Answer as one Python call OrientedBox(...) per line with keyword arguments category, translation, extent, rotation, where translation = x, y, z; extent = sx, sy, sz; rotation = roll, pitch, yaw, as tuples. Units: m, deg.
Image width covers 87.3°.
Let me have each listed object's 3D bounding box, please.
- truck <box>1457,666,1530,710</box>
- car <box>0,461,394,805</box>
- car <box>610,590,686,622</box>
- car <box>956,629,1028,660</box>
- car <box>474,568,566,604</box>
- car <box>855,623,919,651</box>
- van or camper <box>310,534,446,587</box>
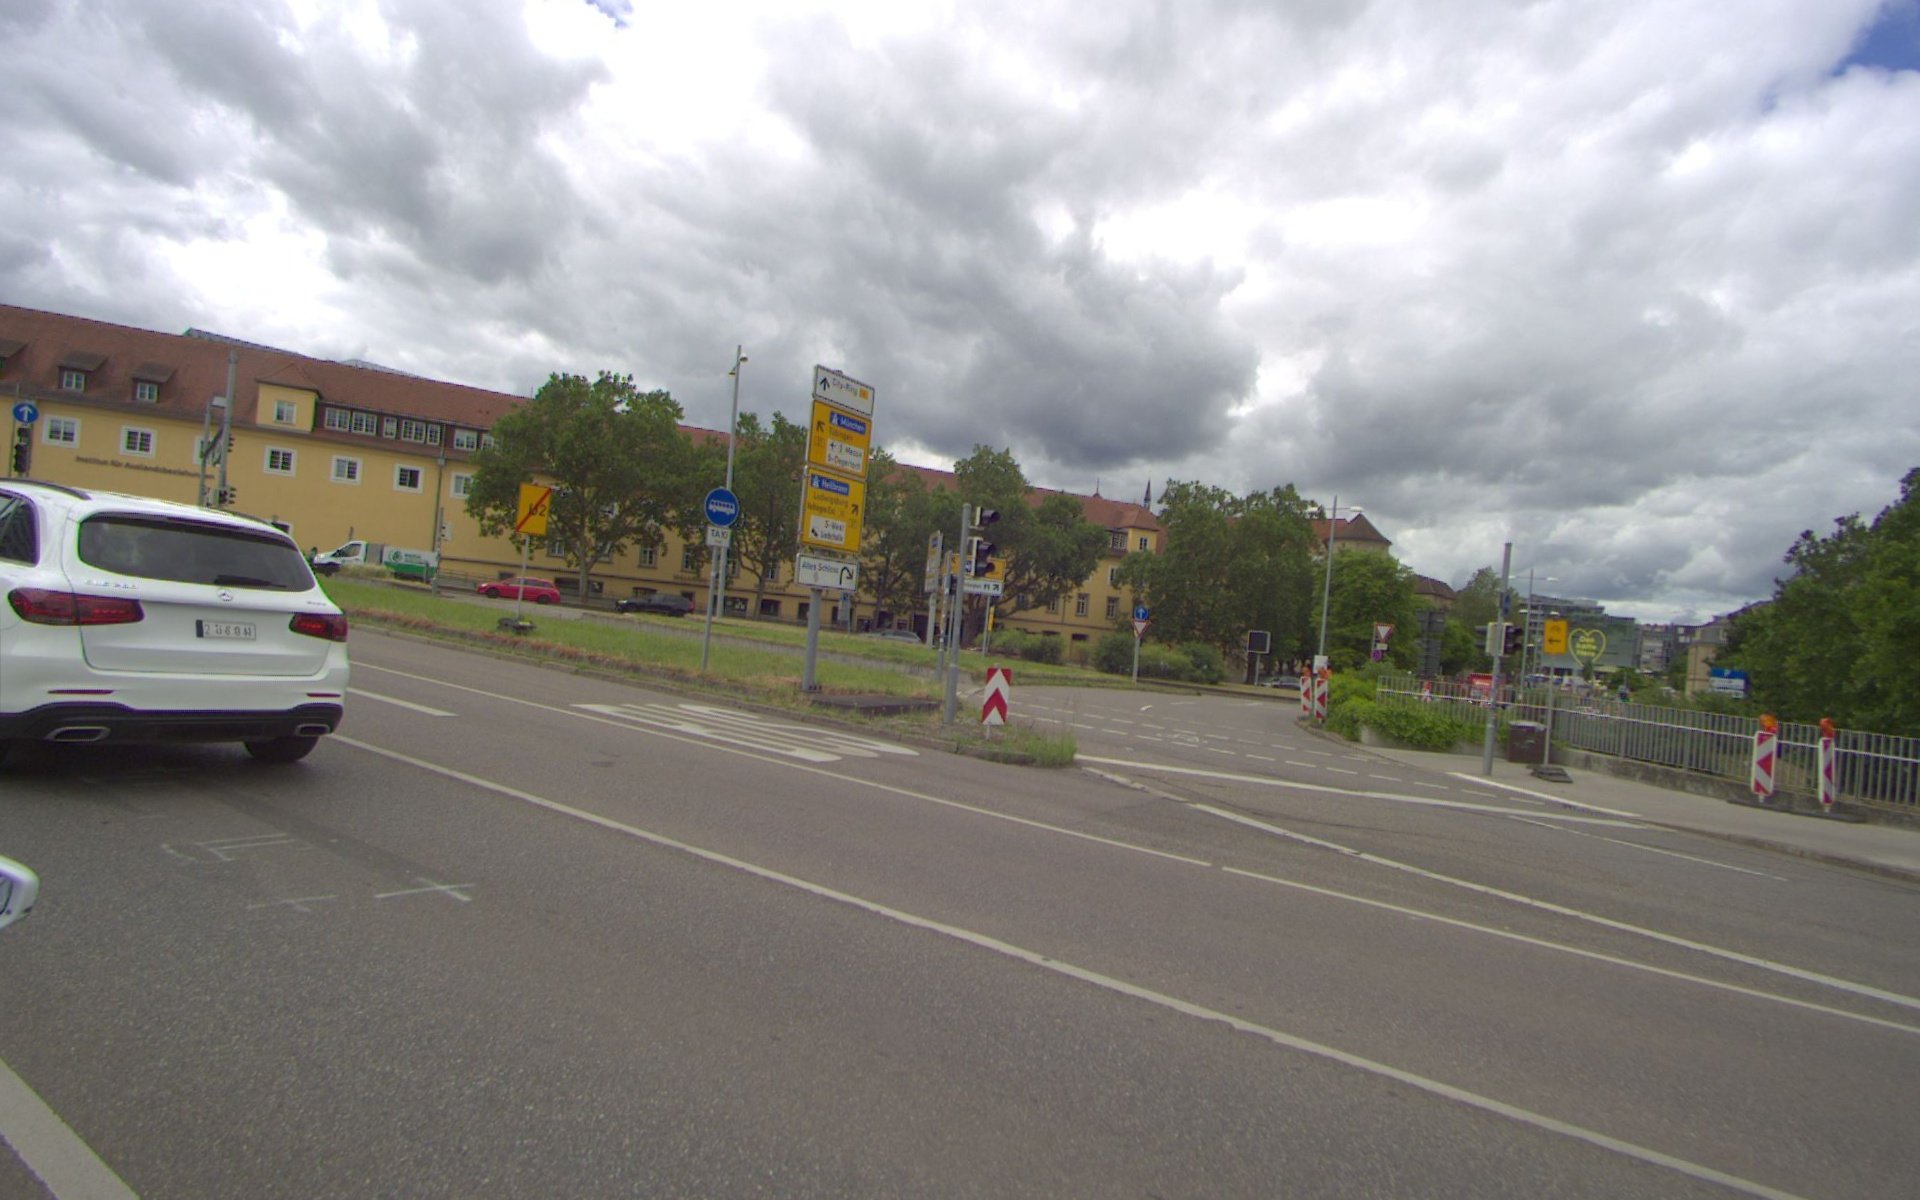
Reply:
OrientedBox(category="truck", translation=(51.848, 8.545, 97.725), extent=(7.565, 3.409, 2.787), rotation=(8, -1, -34))
OrientedBox(category="car", translation=(-6.010, 0.026, 6.735), extent=(4.305, 1.667, 1.822), rotation=(7, -1, 30))
OrientedBox(category="car", translation=(-18.765, 0.369, 60.518), extent=(4.041, 1.430, 1.649), rotation=(8, -1, -27))
OrientedBox(category="car", translation=(2.054, 2.830, 64.190), extent=(4.196, 1.437, 1.649), rotation=(8, -1, -27))
OrientedBox(category="car", translation=(-25.034, -0.800, 57.266), extent=(4.637, 1.437, 1.587), rotation=(8, -1, -27))
OrientedBox(category="car", translation=(-5.103, 2.615, 70.285), extent=(4.041, 1.430, 1.649), rotation=(8, -1, -27))
OrientedBox(category="van or camper", translation=(-31.301, -2.093, 54.365), extent=(5.945, 2.037, 2.009), rotation=(8, -1, -23))
